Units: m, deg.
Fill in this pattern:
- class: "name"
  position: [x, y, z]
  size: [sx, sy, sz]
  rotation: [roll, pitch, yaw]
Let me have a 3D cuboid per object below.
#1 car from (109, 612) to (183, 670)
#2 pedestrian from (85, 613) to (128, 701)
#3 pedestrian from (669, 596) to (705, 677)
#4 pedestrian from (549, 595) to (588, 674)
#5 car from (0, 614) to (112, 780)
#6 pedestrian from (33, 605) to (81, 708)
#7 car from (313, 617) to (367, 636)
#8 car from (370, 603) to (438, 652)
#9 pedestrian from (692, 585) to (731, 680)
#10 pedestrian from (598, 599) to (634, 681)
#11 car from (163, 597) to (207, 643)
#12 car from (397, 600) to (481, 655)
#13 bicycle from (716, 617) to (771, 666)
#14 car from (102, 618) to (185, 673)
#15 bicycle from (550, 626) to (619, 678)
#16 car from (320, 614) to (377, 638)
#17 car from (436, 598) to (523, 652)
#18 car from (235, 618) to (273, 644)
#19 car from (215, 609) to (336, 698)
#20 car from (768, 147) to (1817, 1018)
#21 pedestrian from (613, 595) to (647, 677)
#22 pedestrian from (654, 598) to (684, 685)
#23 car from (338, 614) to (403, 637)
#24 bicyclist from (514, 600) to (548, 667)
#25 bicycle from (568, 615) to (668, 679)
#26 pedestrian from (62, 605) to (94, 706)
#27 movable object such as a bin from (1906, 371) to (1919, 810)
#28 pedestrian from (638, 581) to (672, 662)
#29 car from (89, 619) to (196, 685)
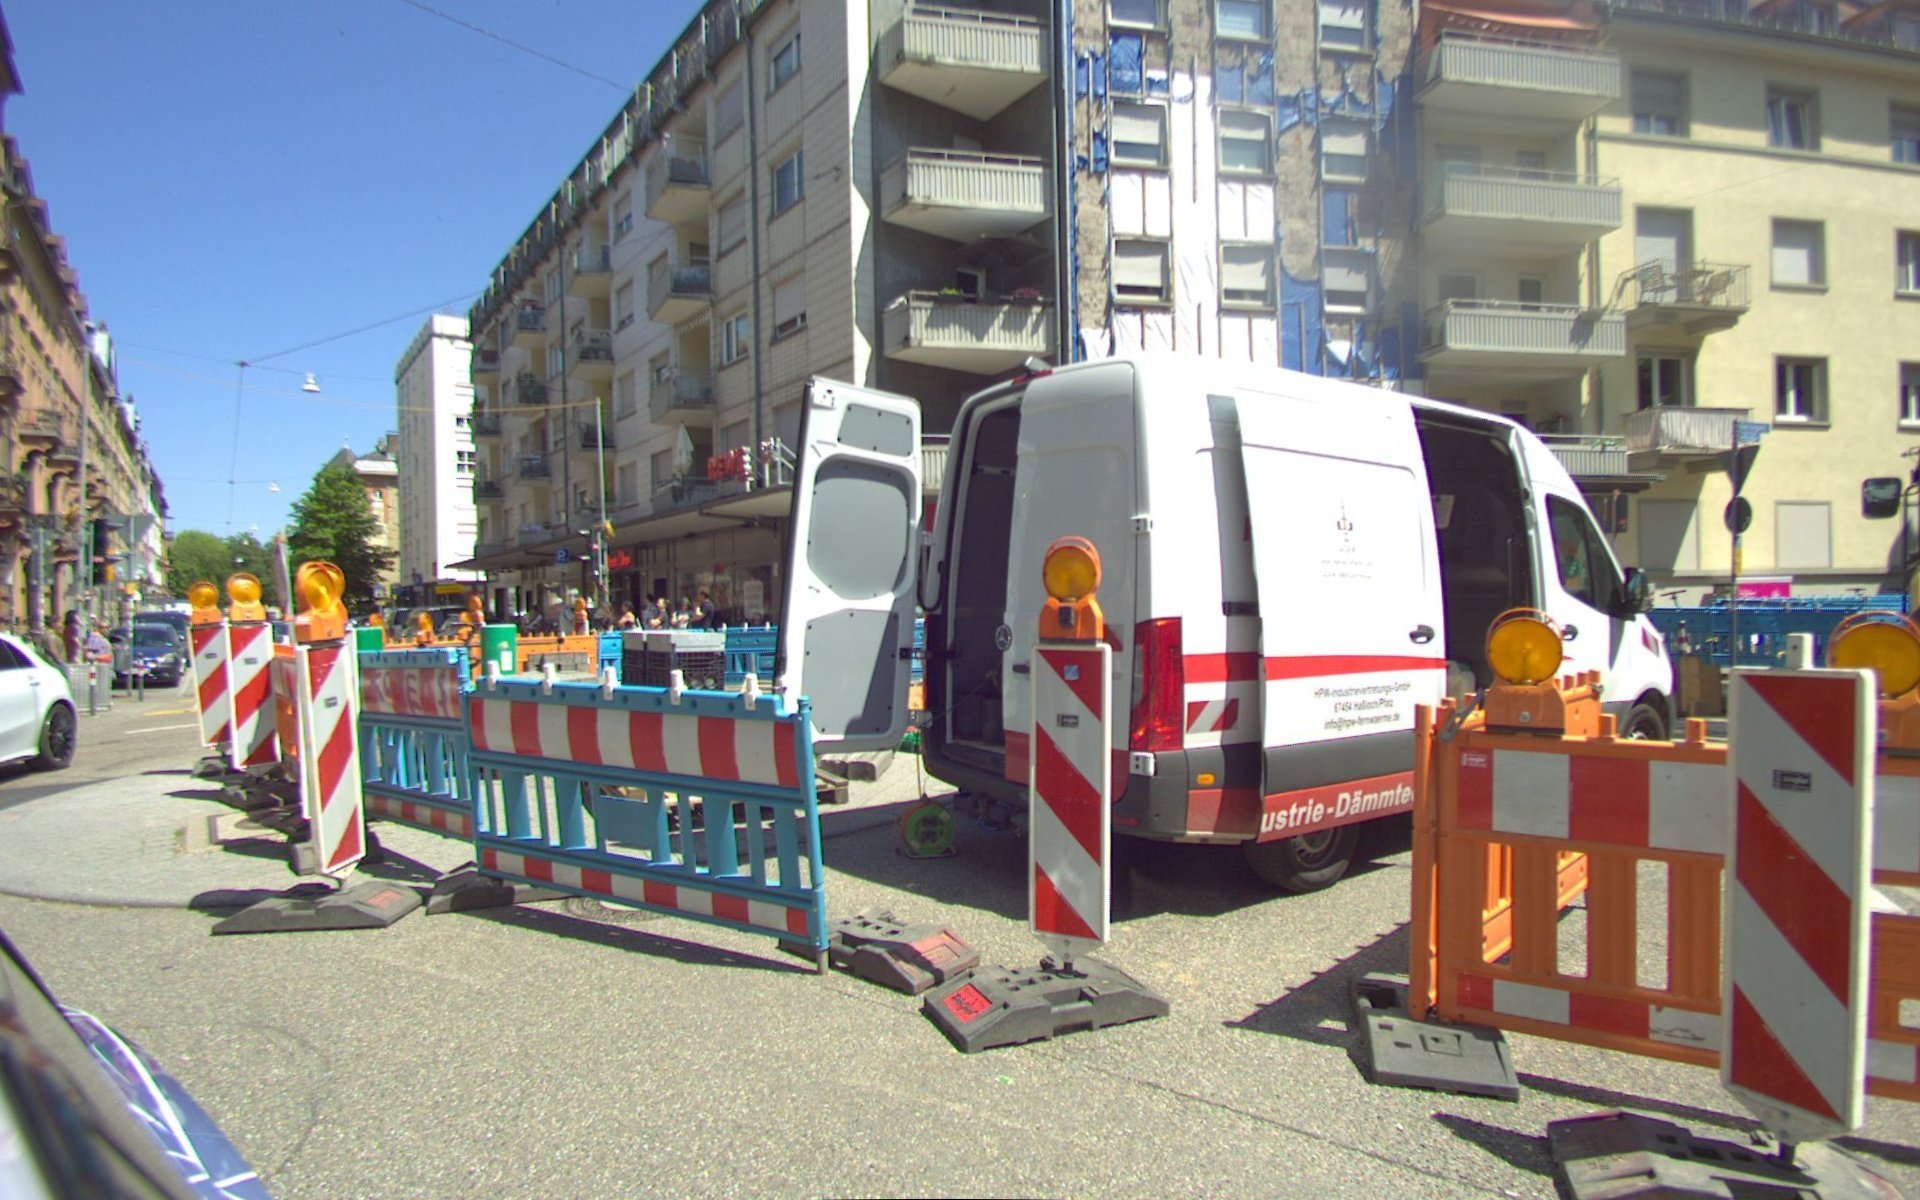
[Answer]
- class: "car"
  position: [-26.965, 1.320, 33.626]
  size: [1.801, 1.780, 4.347]
  rotation: [0, -1, -38]
- class: "pedestrian"
  position: [-15.392, 1.016, 18.258]
  size: [0.486, 1.555, 0.438]
  rotation: [1, -2, -30]
- class: "pedestrian"
  position: [-5.674, 0.754, 21.019]
  size: [0.502, 1.645, 0.601]
  rotation: [-1, -1, -38]
- class: "pedestrian"
  position: [-8.830, 0.771, 22.836]
  size: [0.647, 1.740, 0.634]
  rotation: [-1, -1, -38]
- class: "car"
  position: [-9.056, 0.848, 8.174]
  size: [1.784, 1.436, 4.254]
  rotation: [-1, -1, -16]
- class: "pedestrian"
  position: [-14.168, 0.877, 15.884]
  size: [0.453, 1.572, 0.480]
  rotation: [-1, -1, -30]
- class: "car"
  position: [-53.002, 2.241, 86.508]
  size: [3.825, 1.507, 1.656]
  rotation: [-1, -1, -37]
- class: "car"
  position: [-23.062, 1.129, 41.886]
  size: [1.765, 1.842, 4.912]
  rotation: [-2, 0, -36]
- class: "pedestrian"
  position: [-4.901, 0.628, 19.963]
  size: [0.502, 1.833, 0.601]
  rotation: [-1, -1, -38]
- class: "pedestrian"
  position: [-7.126, 0.816, 20.957]
  size: [0.534, 1.645, 0.512]
  rotation: [-1, -1, -39]
- class: "car"
  position: [-49.811, 1.266, 65.109]
  size: [2.035, 2.722, 5.051]
  rotation: [-3, 1, -36]
- class: "car"
  position: [-19.150, 0.989, 37.089]
  size: [1.766, 1.825, 4.708]
  rotation: [-2, 0, -39]
- class: "bicycle"
  position: [-4.998, 0.963, 23.311]
  size: [1.429, 1.094, 0.318]
  rotation: [-3, -1, 35]
- class: "car"
  position: [-22.984, 1.225, 28.602]
  size: [1.703, 1.443, 4.495]
  rotation: [0, -1, -38]
- class: "bicycle"
  position: [-9.176, 1.264, 24.783]
  size: [1.500, 1.125, 0.336]
  rotation: [-4, 1, -41]
- class: "car"
  position: [-49.596, 2.086, 82.101]
  size: [3.825, 1.760, 1.656]
  rotation: [-1, -1, -37]
- class: "car"
  position: [-15.127, 0.767, 31.766]
  size: [1.648, 1.536, 4.474]
  rotation: [-2, 0, -36]
- class: "car"
  position: [-40.869, 1.748, 58.660]
  size: [1.720, 1.401, 4.010]
  rotation: [-1, 0, -34]
- class: "car"
  position: [-13.608, 0.976, 20.040]
  size: [1.753, 1.480, 4.009]
  rotation: [-3, 1, -36]
- class: "car"
  position: [2.392, -0.079, 6.022]
  size: [6.532, 2.772, 2.386]
  rotation: [0, 0, -33]
- class: "pedestrian"
  position: [-6.528, 0.696, 20.024]
  size: [0.489, 1.577, 0.460]
  rotation: [-3, 0, -10]
- class: "pedestrian"
  position: [-5.537, 0.783, 19.253]
  size: [0.384, 1.630, 0.476]
  rotation: [-1, -1, -38]
- class: "car"
  position: [-42.105, 1.812, 72.298]
  size: [3.825, 1.540, 1.656]
  rotation: [-1, -1, -37]
- class: "bicyclist"
  position: [-11.227, 0.862, 26.461]
  size: [0.614, 1.719, 0.981]
  rotation: [-1, 0, -34]
- class: "bicycle"
  position: [-6.668, 0.908, 19.811]
  size: [1.780, 1.127, 0.469]
  rotation: [-3, 0, -15]
- class: "pedestrian"
  position: [-14.951, 0.932, 17.158]
  size: [0.328, 1.688, 0.403]
  rotation: [-1, -1, -30]
- class: "movable object such as a bin"
  position: [8.120, -0.073, 7.032]
  size: [4.489, 2.679, 1.956]
  rotation: [0, -1, -44]
- class: "pedestrian"
  position: [-6.849, 0.467, 22.715]
  size: [0.502, 1.784, 0.601]
  rotation: [-1, -1, -38]
- class: "car"
  position: [-19.392, 1.173, 24.130]
  size: [1.605, 1.443, 3.670]
  rotation: [0, -1, -33]
